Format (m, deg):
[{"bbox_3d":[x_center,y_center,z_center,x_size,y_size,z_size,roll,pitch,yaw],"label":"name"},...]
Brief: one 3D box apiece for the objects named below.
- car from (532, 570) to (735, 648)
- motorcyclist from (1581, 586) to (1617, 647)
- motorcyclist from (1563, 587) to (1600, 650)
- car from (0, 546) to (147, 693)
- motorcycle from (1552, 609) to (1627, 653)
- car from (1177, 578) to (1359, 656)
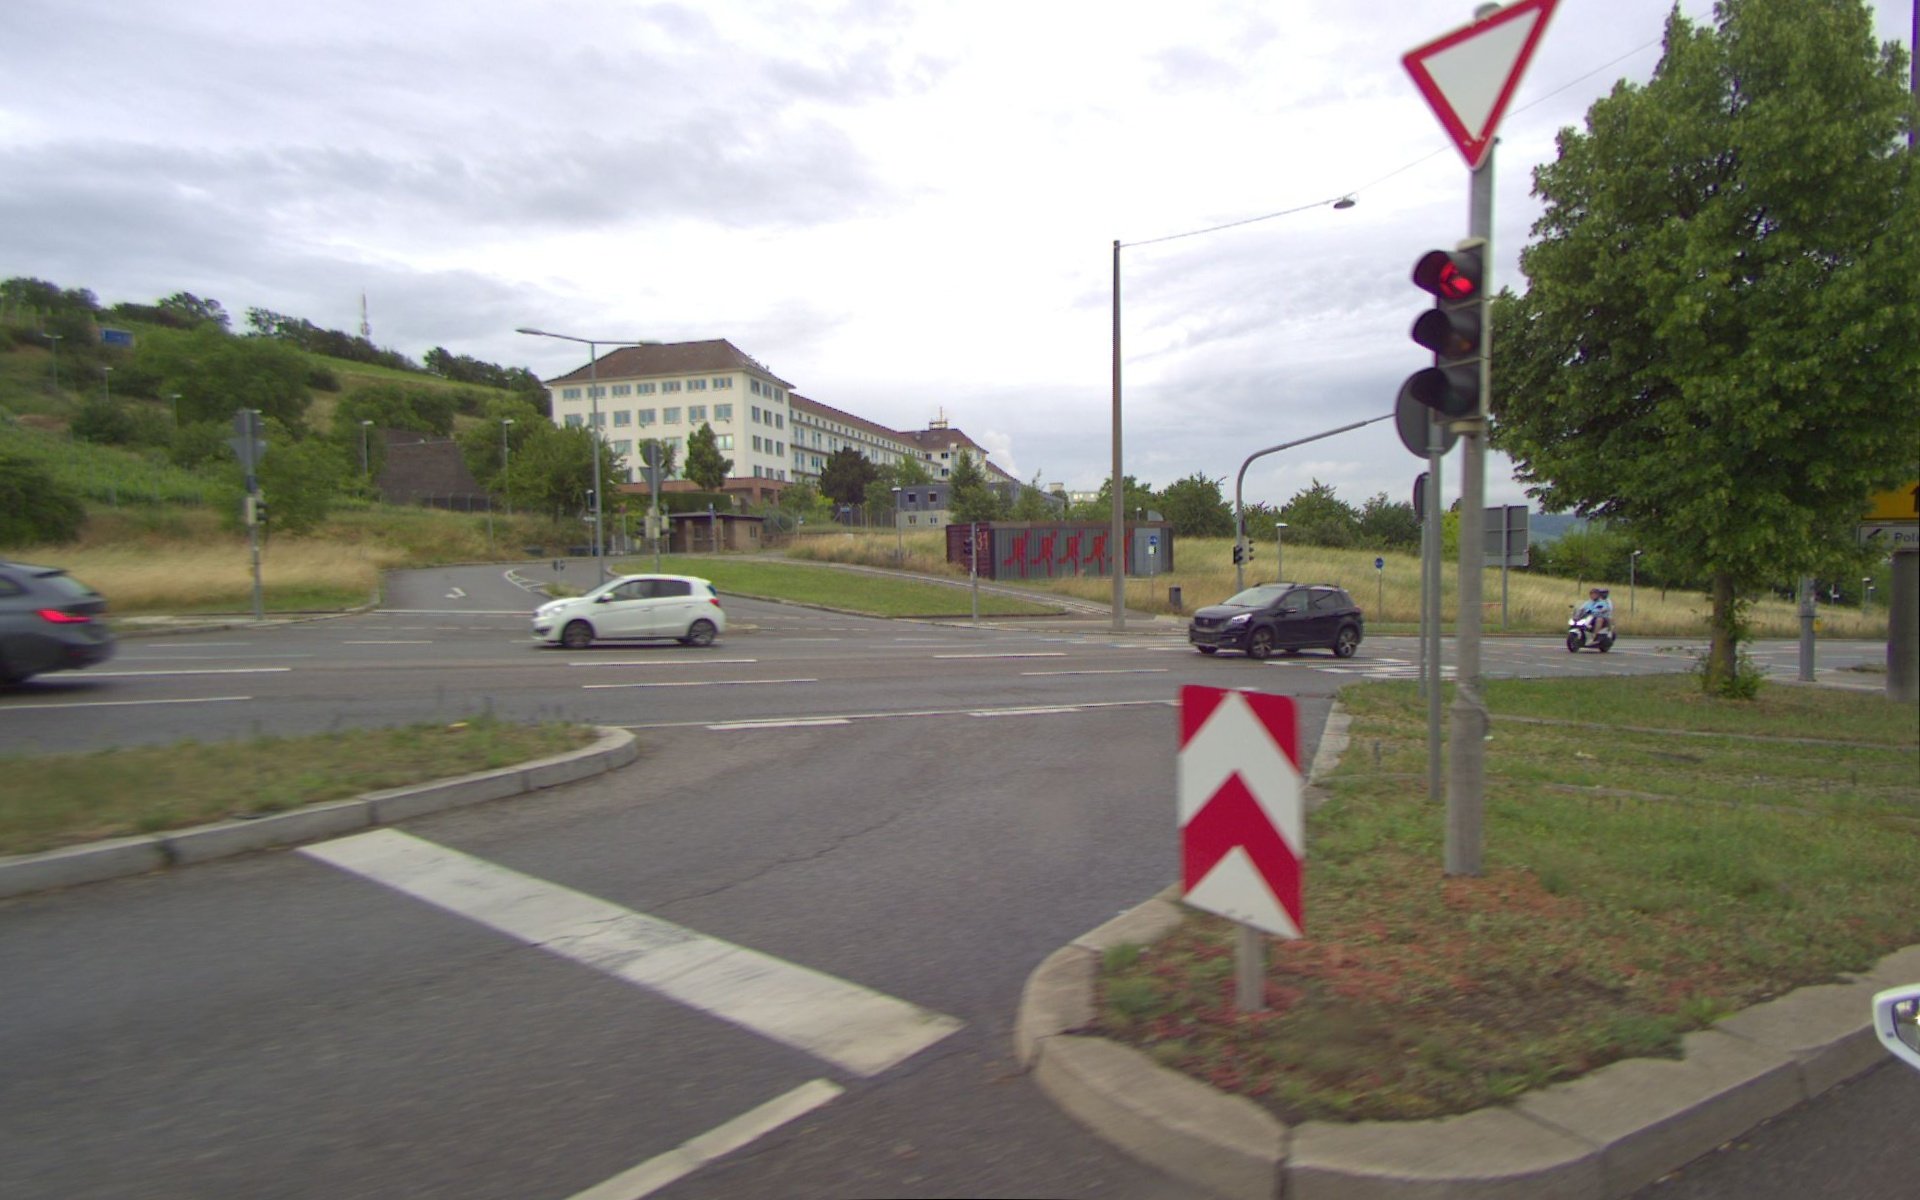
[{"bbox_3d":[-6.692,0.134,20.654,3.729,1.482,1.643,-1,2,-30],"label":"car"},{"bbox_3d":[17.078,0.436,26.851,0.575,1.603,0.609,-1,2,-30],"label":"motorcyclist"},{"bbox_3d":[16.378,0.474,26.490,0.636,1.618,0.579,-1,2,-30],"label":"motorcyclist"},{"bbox_3d":[-11.477,0.166,10.493,4.412,1.524,1.742,1,1,-31],"label":"car"},{"bbox_3d":[16.713,0.804,26.661,2.473,1.064,0.614,-1,2,-31],"label":"motorcycle"},{"bbox_3d":[6.514,0.363,21.190,3.616,1.524,1.532,1,1,-28],"label":"car"}]
